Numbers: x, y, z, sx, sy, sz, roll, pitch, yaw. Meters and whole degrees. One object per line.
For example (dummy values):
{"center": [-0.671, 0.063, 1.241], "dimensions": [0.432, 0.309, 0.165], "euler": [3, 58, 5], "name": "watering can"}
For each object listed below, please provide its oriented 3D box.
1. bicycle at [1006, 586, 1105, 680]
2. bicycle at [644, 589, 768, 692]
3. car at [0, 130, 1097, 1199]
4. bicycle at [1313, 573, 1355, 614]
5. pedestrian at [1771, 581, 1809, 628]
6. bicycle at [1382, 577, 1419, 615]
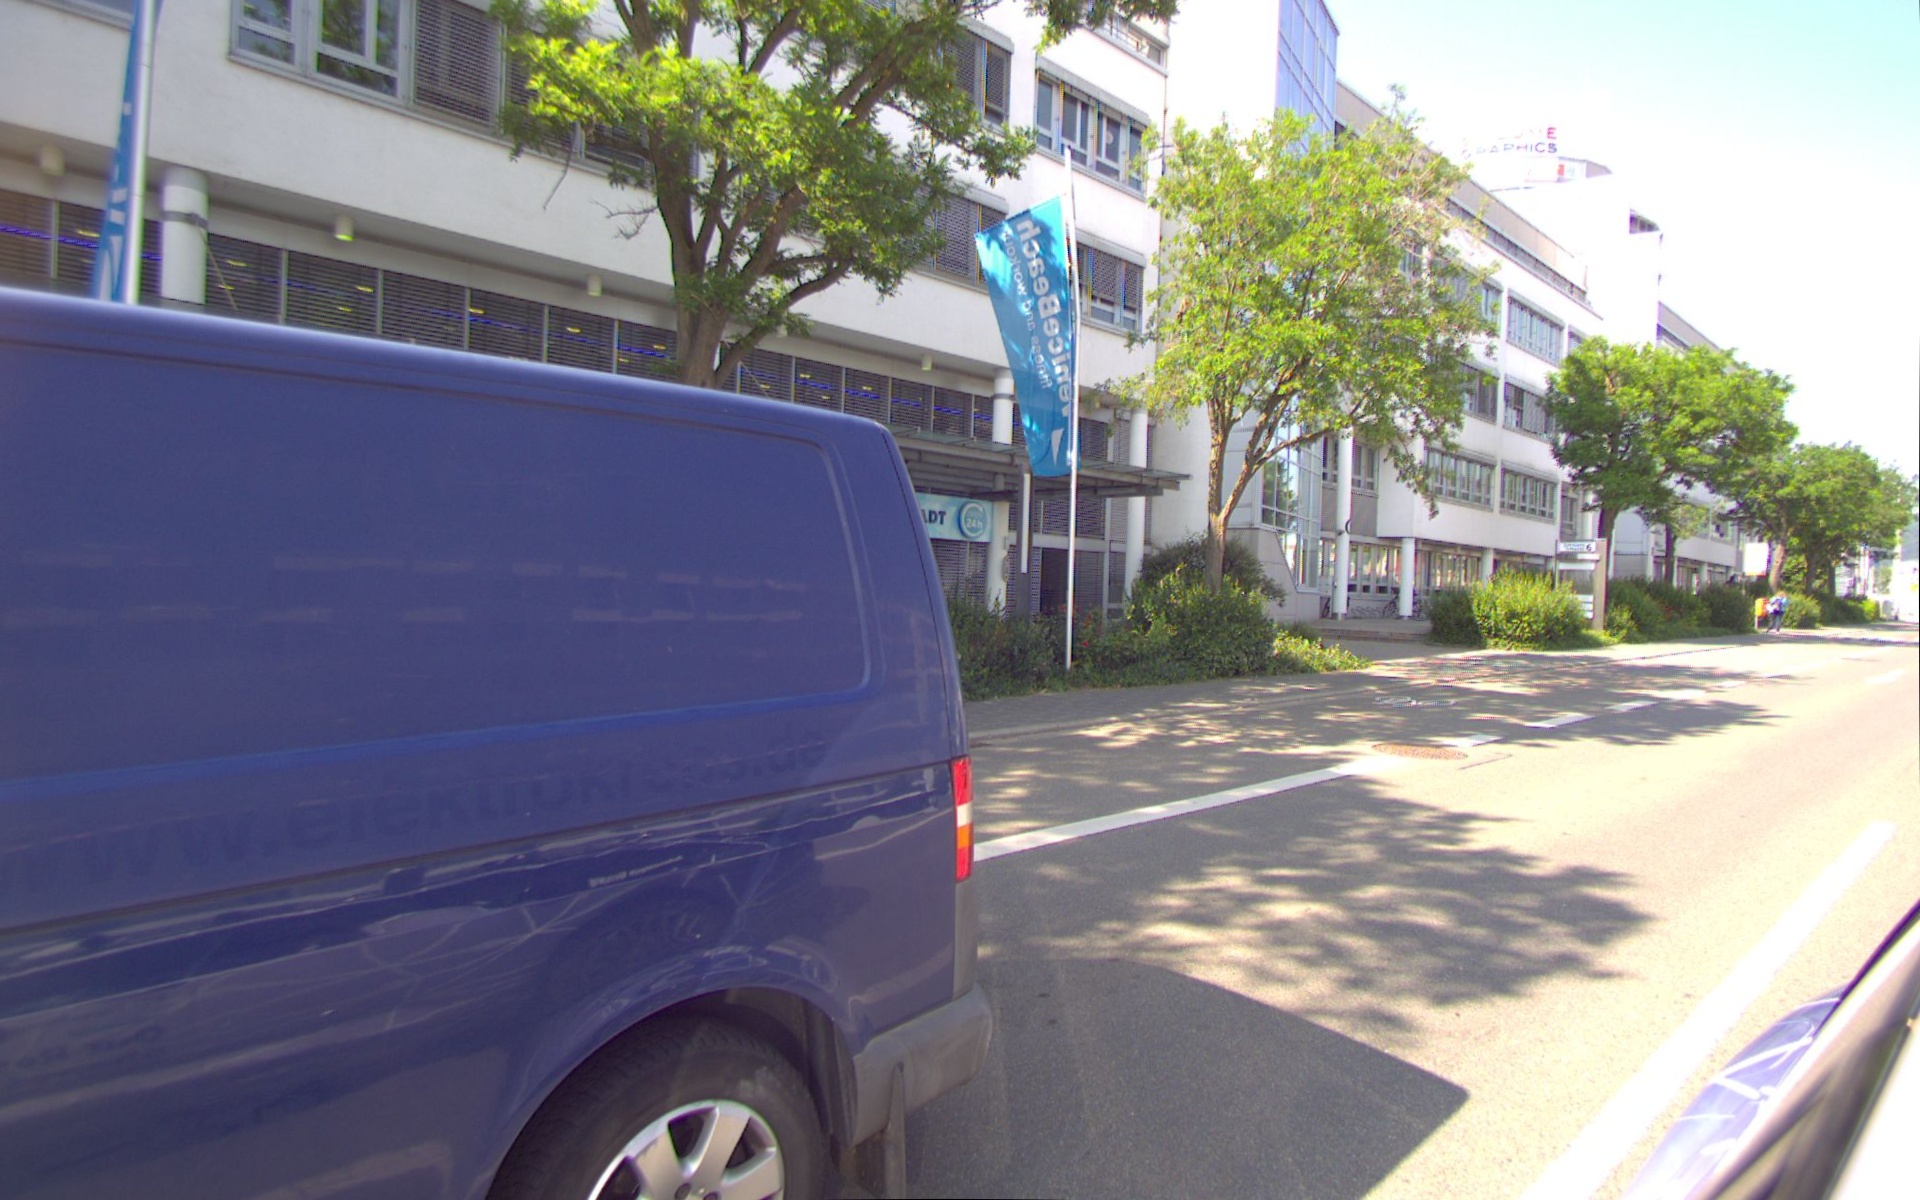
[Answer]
{"center": [1.501, 0.479, 15.611], "dimensions": [0.504, 1.346, 1.857], "euler": [2, 1, 41], "name": "bicycle"}
{"center": [-3.625, 0.542, 14.392], "dimensions": [1.868, 1.346, 0.501], "euler": [2, 1, 30], "name": "bicycle"}
{"center": [-2.133, 0.417, 1.634], "dimensions": [4.806, 1.972, 1.997], "euler": [-1, 2, -41], "name": "car"}
{"center": [12.910, -0.231, 34.906], "dimensions": [1.852, 1.371, 0.506], "euler": [0, 1, -41], "name": "bicycle"}
{"center": [35.208, 0.187, 42.944], "dimensions": [1.267, 1.909, 0.942], "euler": [0, 4, -41], "name": "pedestrian"}
{"center": [16.351, -0.167, 37.529], "dimensions": [1.852, 1.371, 0.506], "euler": [0, 1, -41], "name": "bicycle"}
